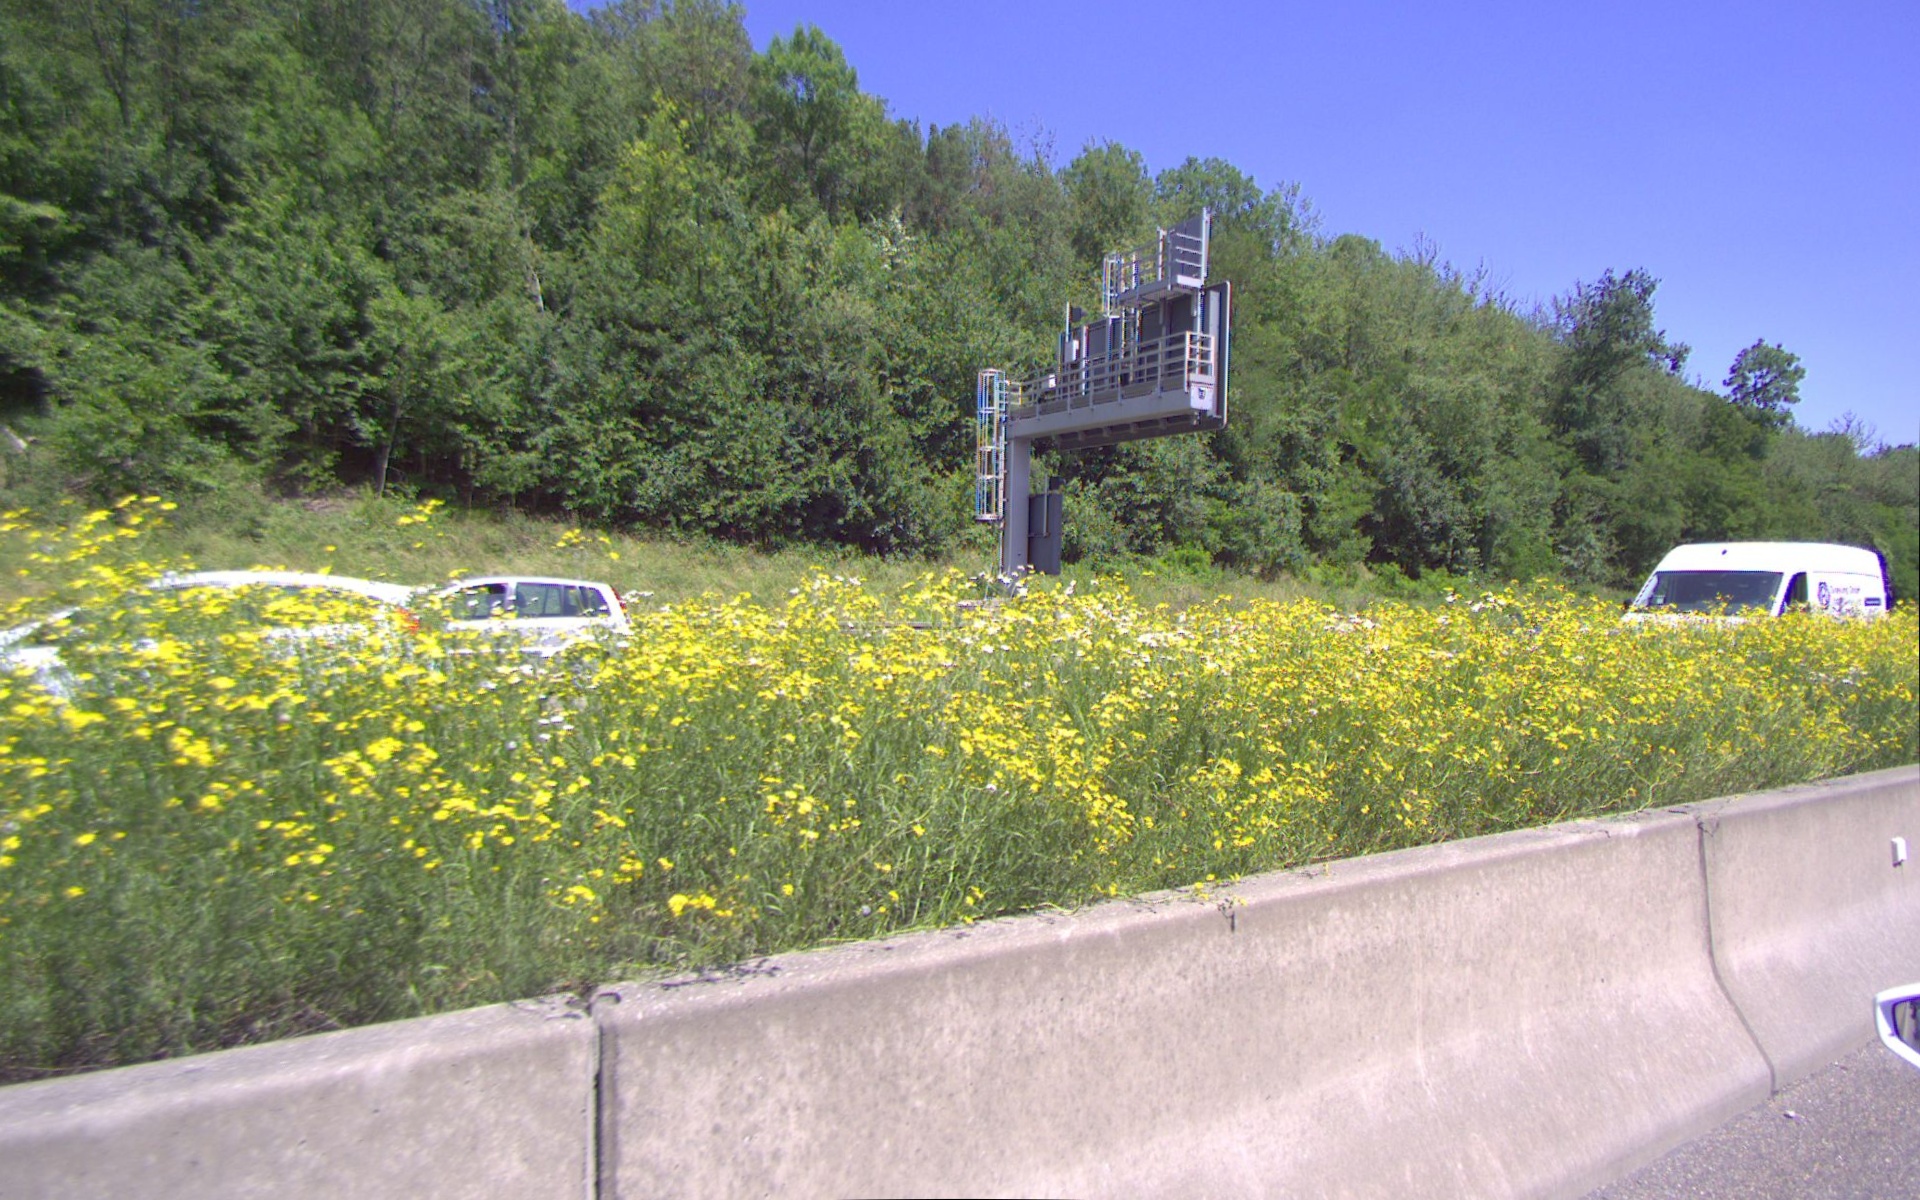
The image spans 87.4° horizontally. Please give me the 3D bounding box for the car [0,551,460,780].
[{"bbox_3d":[-6.406,0.460,8.302,3.953,1.596,1.984,1,0,-30],"label":"car"}]

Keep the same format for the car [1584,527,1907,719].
[{"bbox_3d":[12.469,0.351,15.824,5.840,2.575,1.984,1,0,-31],"label":"car"}]

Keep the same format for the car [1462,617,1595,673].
[{"bbox_3d":[16.243,1.258,28.670,3.500,1.473,1.779,1,0,-30],"label":"car"}]

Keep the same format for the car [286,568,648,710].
[{"bbox_3d":[-6.320,0.462,13.117,3.953,1.596,1.984,1,0,-30],"label":"car"}]
